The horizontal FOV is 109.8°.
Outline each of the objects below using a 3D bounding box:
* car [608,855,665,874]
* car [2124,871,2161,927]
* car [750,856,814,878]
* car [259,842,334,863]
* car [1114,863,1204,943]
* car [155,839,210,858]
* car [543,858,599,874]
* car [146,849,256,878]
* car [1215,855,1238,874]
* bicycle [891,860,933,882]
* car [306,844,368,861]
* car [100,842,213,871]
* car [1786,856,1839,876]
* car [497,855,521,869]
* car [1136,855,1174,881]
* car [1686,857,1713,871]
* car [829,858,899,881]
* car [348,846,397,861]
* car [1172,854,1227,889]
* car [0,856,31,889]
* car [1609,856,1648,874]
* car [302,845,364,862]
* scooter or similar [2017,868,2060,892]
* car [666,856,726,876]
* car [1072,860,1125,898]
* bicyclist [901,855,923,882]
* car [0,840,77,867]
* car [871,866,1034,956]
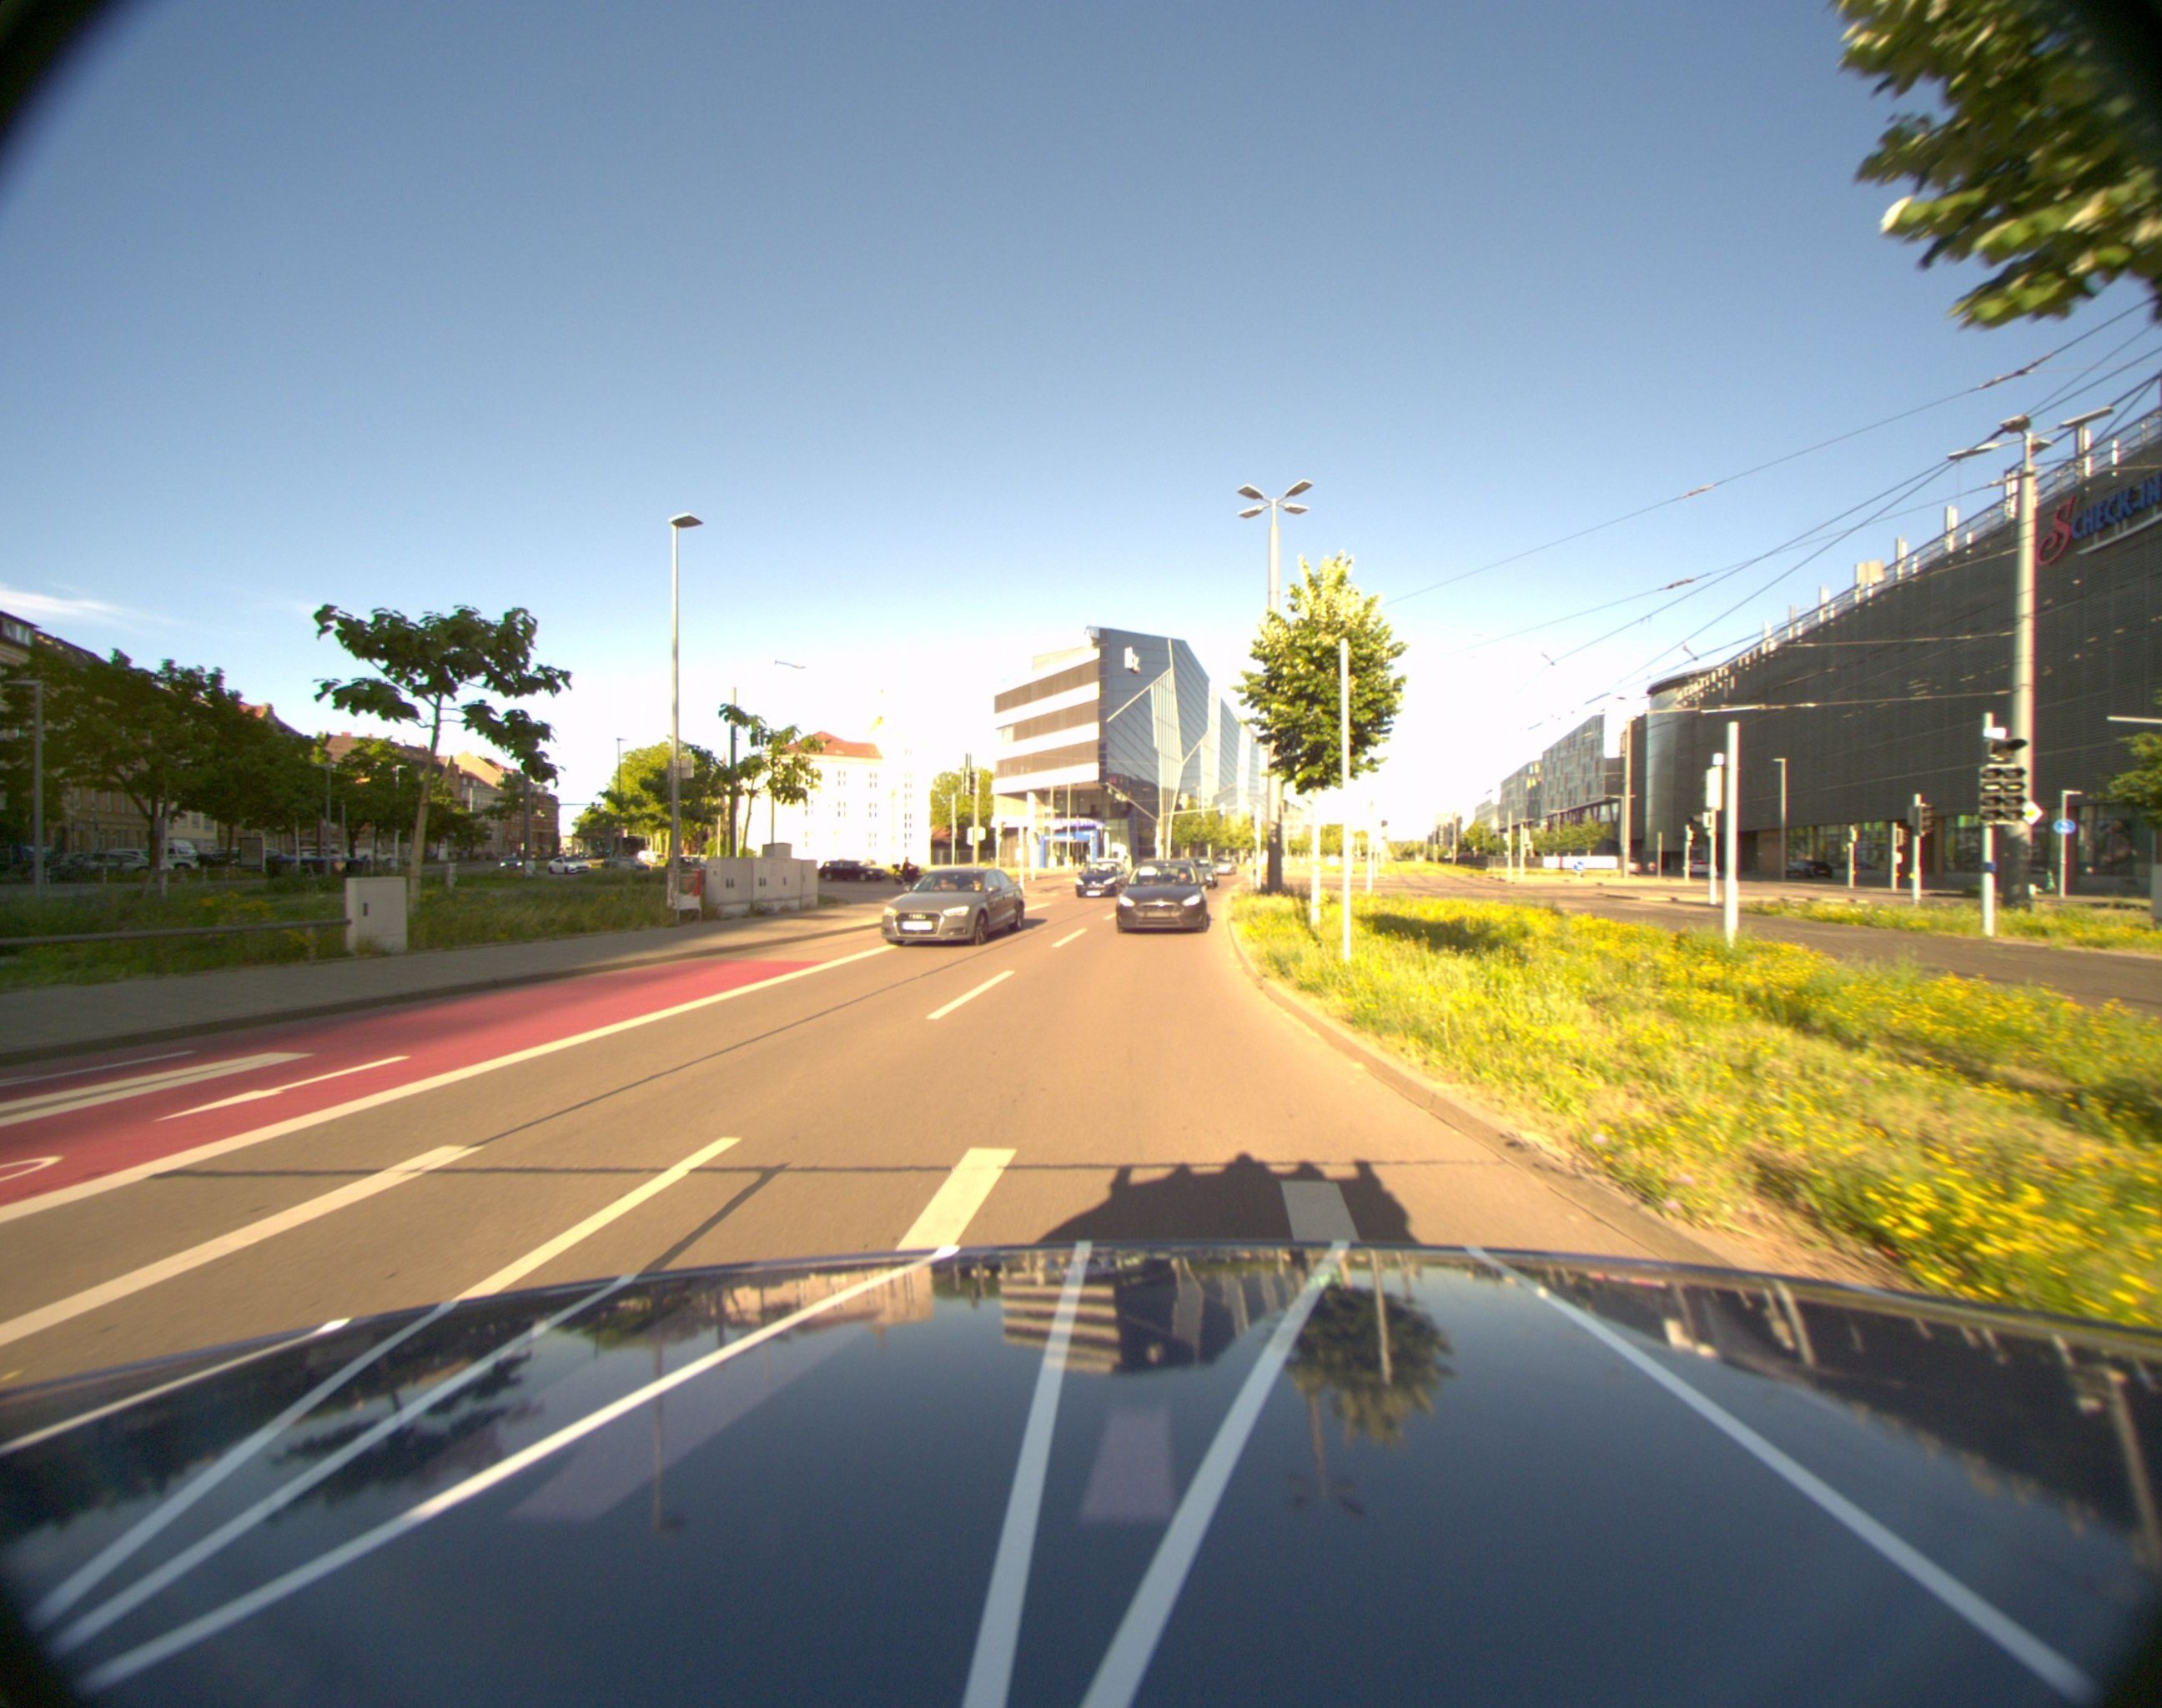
[{"bbox_3d":[-35.348,0.816,60.419,4.513,1.414,2.004,0,0,32],"label":"car"},{"bbox_3d":[26.336,1.117,16.656,1.808,1.320,4.411,1,1,18],"label":"car"},{"bbox_3d":[-21.190,0.900,53.840,3.990,1.414,2.003,0,0,25],"label":"car"},{"bbox_3d":[-66.849,-0.153,64.774,1.995,1.707,4.007,0,0,26],"label":"car"},{"bbox_3d":[1.801,0.954,16.447,1.688,1.425,4.156,0,0,9],"label":"car"},{"bbox_3d":[-81.740,-0.475,69.207,2.003,1.707,4.251,0,0,-32],"label":"car"},{"bbox_3d":[-43.414,1.005,64.720,3.991,1.237,2.003,0,0,20],"label":"car"},{"bbox_3d":[-54.833,0.568,47.458,1.996,1.707,4.005,0,0,18],"label":"car"},{"bbox_3d":[11.235,0.781,58.514,1.619,1.421,3.770,-1,0,12],"label":"car"},{"bbox_3d":[-10.314,1.018,46.447,2.367,1.304,0.953,0,1,18],"label":"bicycle"},{"bbox_3d":[-77.304,-0.196,79.024,1.994,1.707,4.271,1,0,32],"label":"car"},{"bbox_3d":[-57.464,0.136,47.335,1.996,1.707,4.005,0,0,18],"label":"car"},{"bbox_3d":[58.610,0.933,60.962,1.582,1.521,3.755,-1,0,17],"label":"car"},{"bbox_3d":[-57.827,0.804,76.826,1.938,1.368,3.989,0,0,-37],"label":"car"},{"bbox_3d":[4.453,0.816,45.255,1.437,1.437,4.005,0,0,18],"label":"car"},{"bbox_3d":[62.427,1.009,76.755,1.688,1.364,3.598,1,0,32],"label":"car"},{"bbox_3d":[-14.587,1.022,51.125,4.284,1.414,2.003,0,0,25],"label":"car"},{"bbox_3d":[-87.080,-0.077,93.439,1.995,1.805,4.007,0,0,27],"label":"car"},{"bbox_3d":[5.934,0.825,37.710,1.746,1.496,3.886,3,2,23],"label":"car"},{"bbox_3d":[-47.903,0.771,31.930,4.003,1.390,1.997,0,0,-18],"label":"car"},{"bbox_3d":[50.416,0.999,70.058,1.807,1.566,4.300,1,1,21],"label":"car"},{"bbox_3d":[-75.602,-0.041,76.814,1.995,1.707,4.007,0,0,23],"label":"car"},{"bbox_3d":[43.994,1.203,34.918,0.435,1.036,1.363,-1,0,10],"label":"scooter or similar"},{"bbox_3d":[-29.058,0.898,57.349,3.990,1.414,2.003,0,0,25],"label":"car"},{"bbox_3d":[0.790,0.988,31.458,1.734,1.437,4.002,0,0,8],"label":"car"},{"bbox_3d":[-10.324,0.860,46.464,1.006,1.597,0.881,0,1,18],"label":"bicyclist"},{"bbox_3d":[-69.845,-0.061,50.710,2.003,1.707,4.251,0,0,-32],"label":"car"},{"bbox_3d":[-2.311,0.996,14.865,1.713,1.432,4.115,-1,0,12],"label":"car"}]
